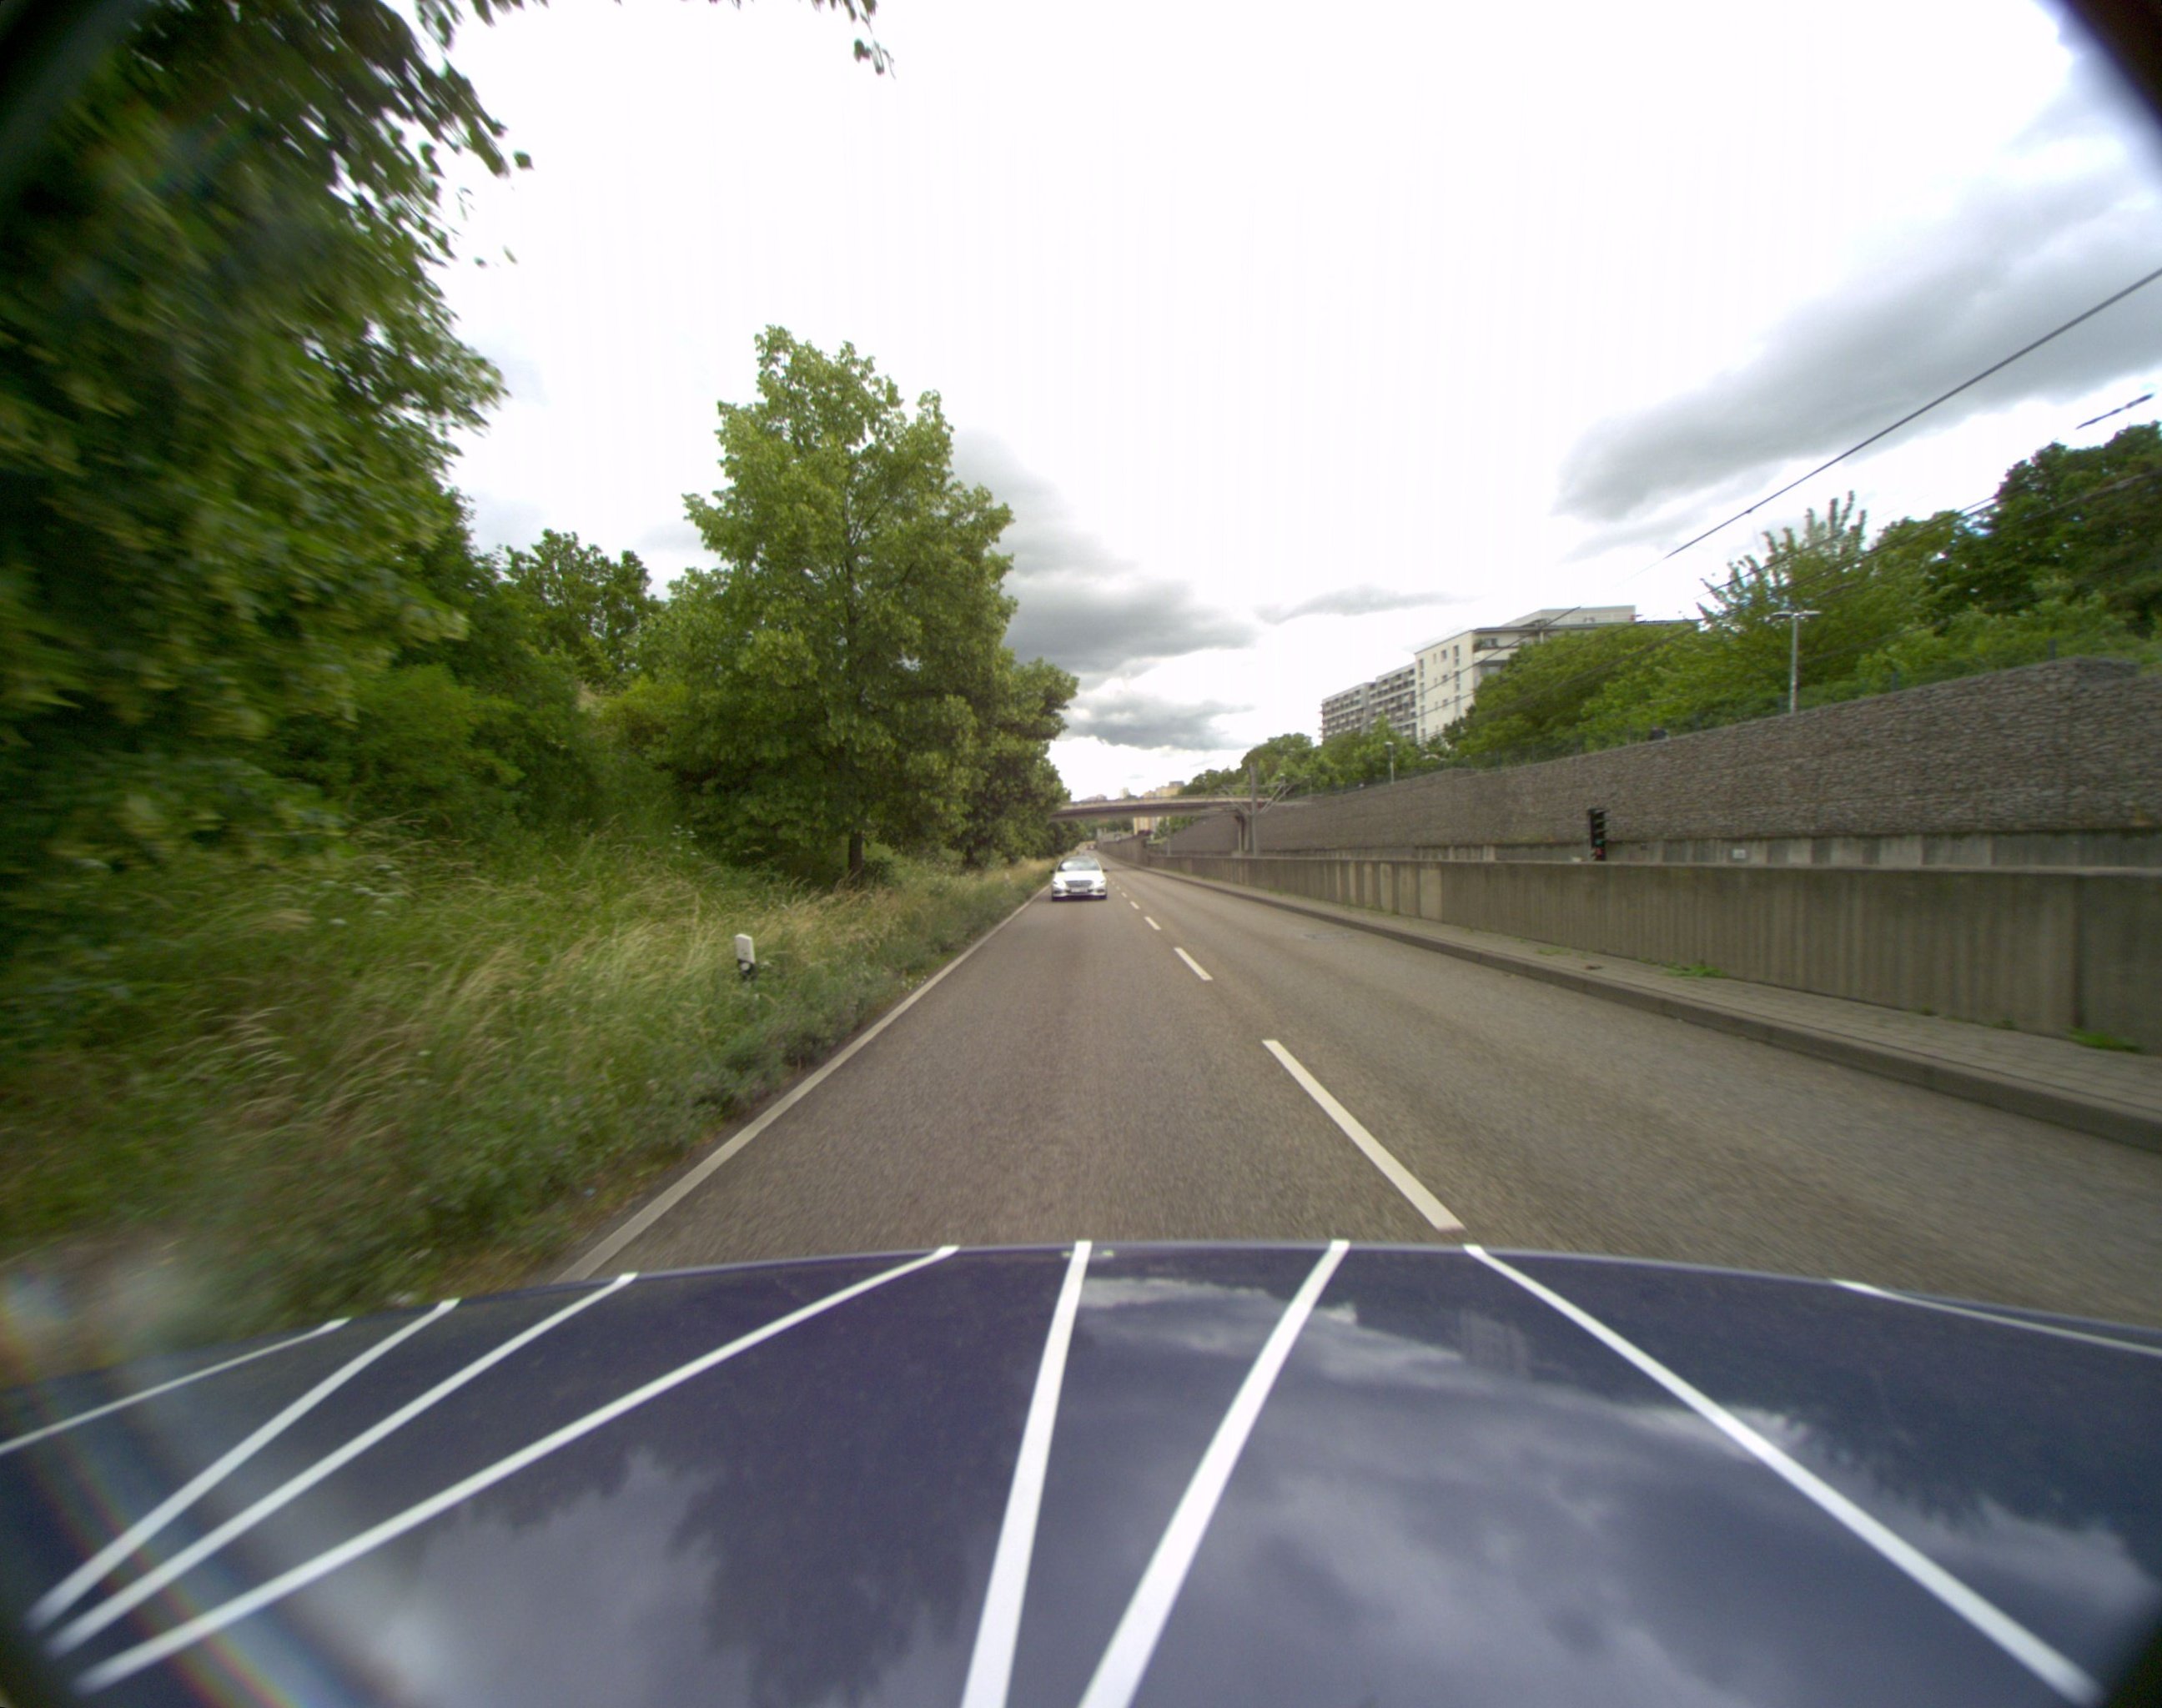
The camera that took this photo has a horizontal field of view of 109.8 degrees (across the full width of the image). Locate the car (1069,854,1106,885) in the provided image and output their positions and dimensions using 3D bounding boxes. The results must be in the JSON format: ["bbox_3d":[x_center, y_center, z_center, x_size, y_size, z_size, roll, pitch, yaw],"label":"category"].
[{"bbox_3d":[0.343,0.800,41.031,1.878,1.459,3.999,-2,1,1],"label":"car"}]

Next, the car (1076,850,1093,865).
[{"bbox_3d":[0.484,0.424,94.478,1.998,1.746,4.000,-2,1,1],"label":"car"}]

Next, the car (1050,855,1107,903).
[{"bbox_3d":[-0.045,0.825,27.097,1.842,1.499,4.160,-1,0,1],"label":"car"}]
